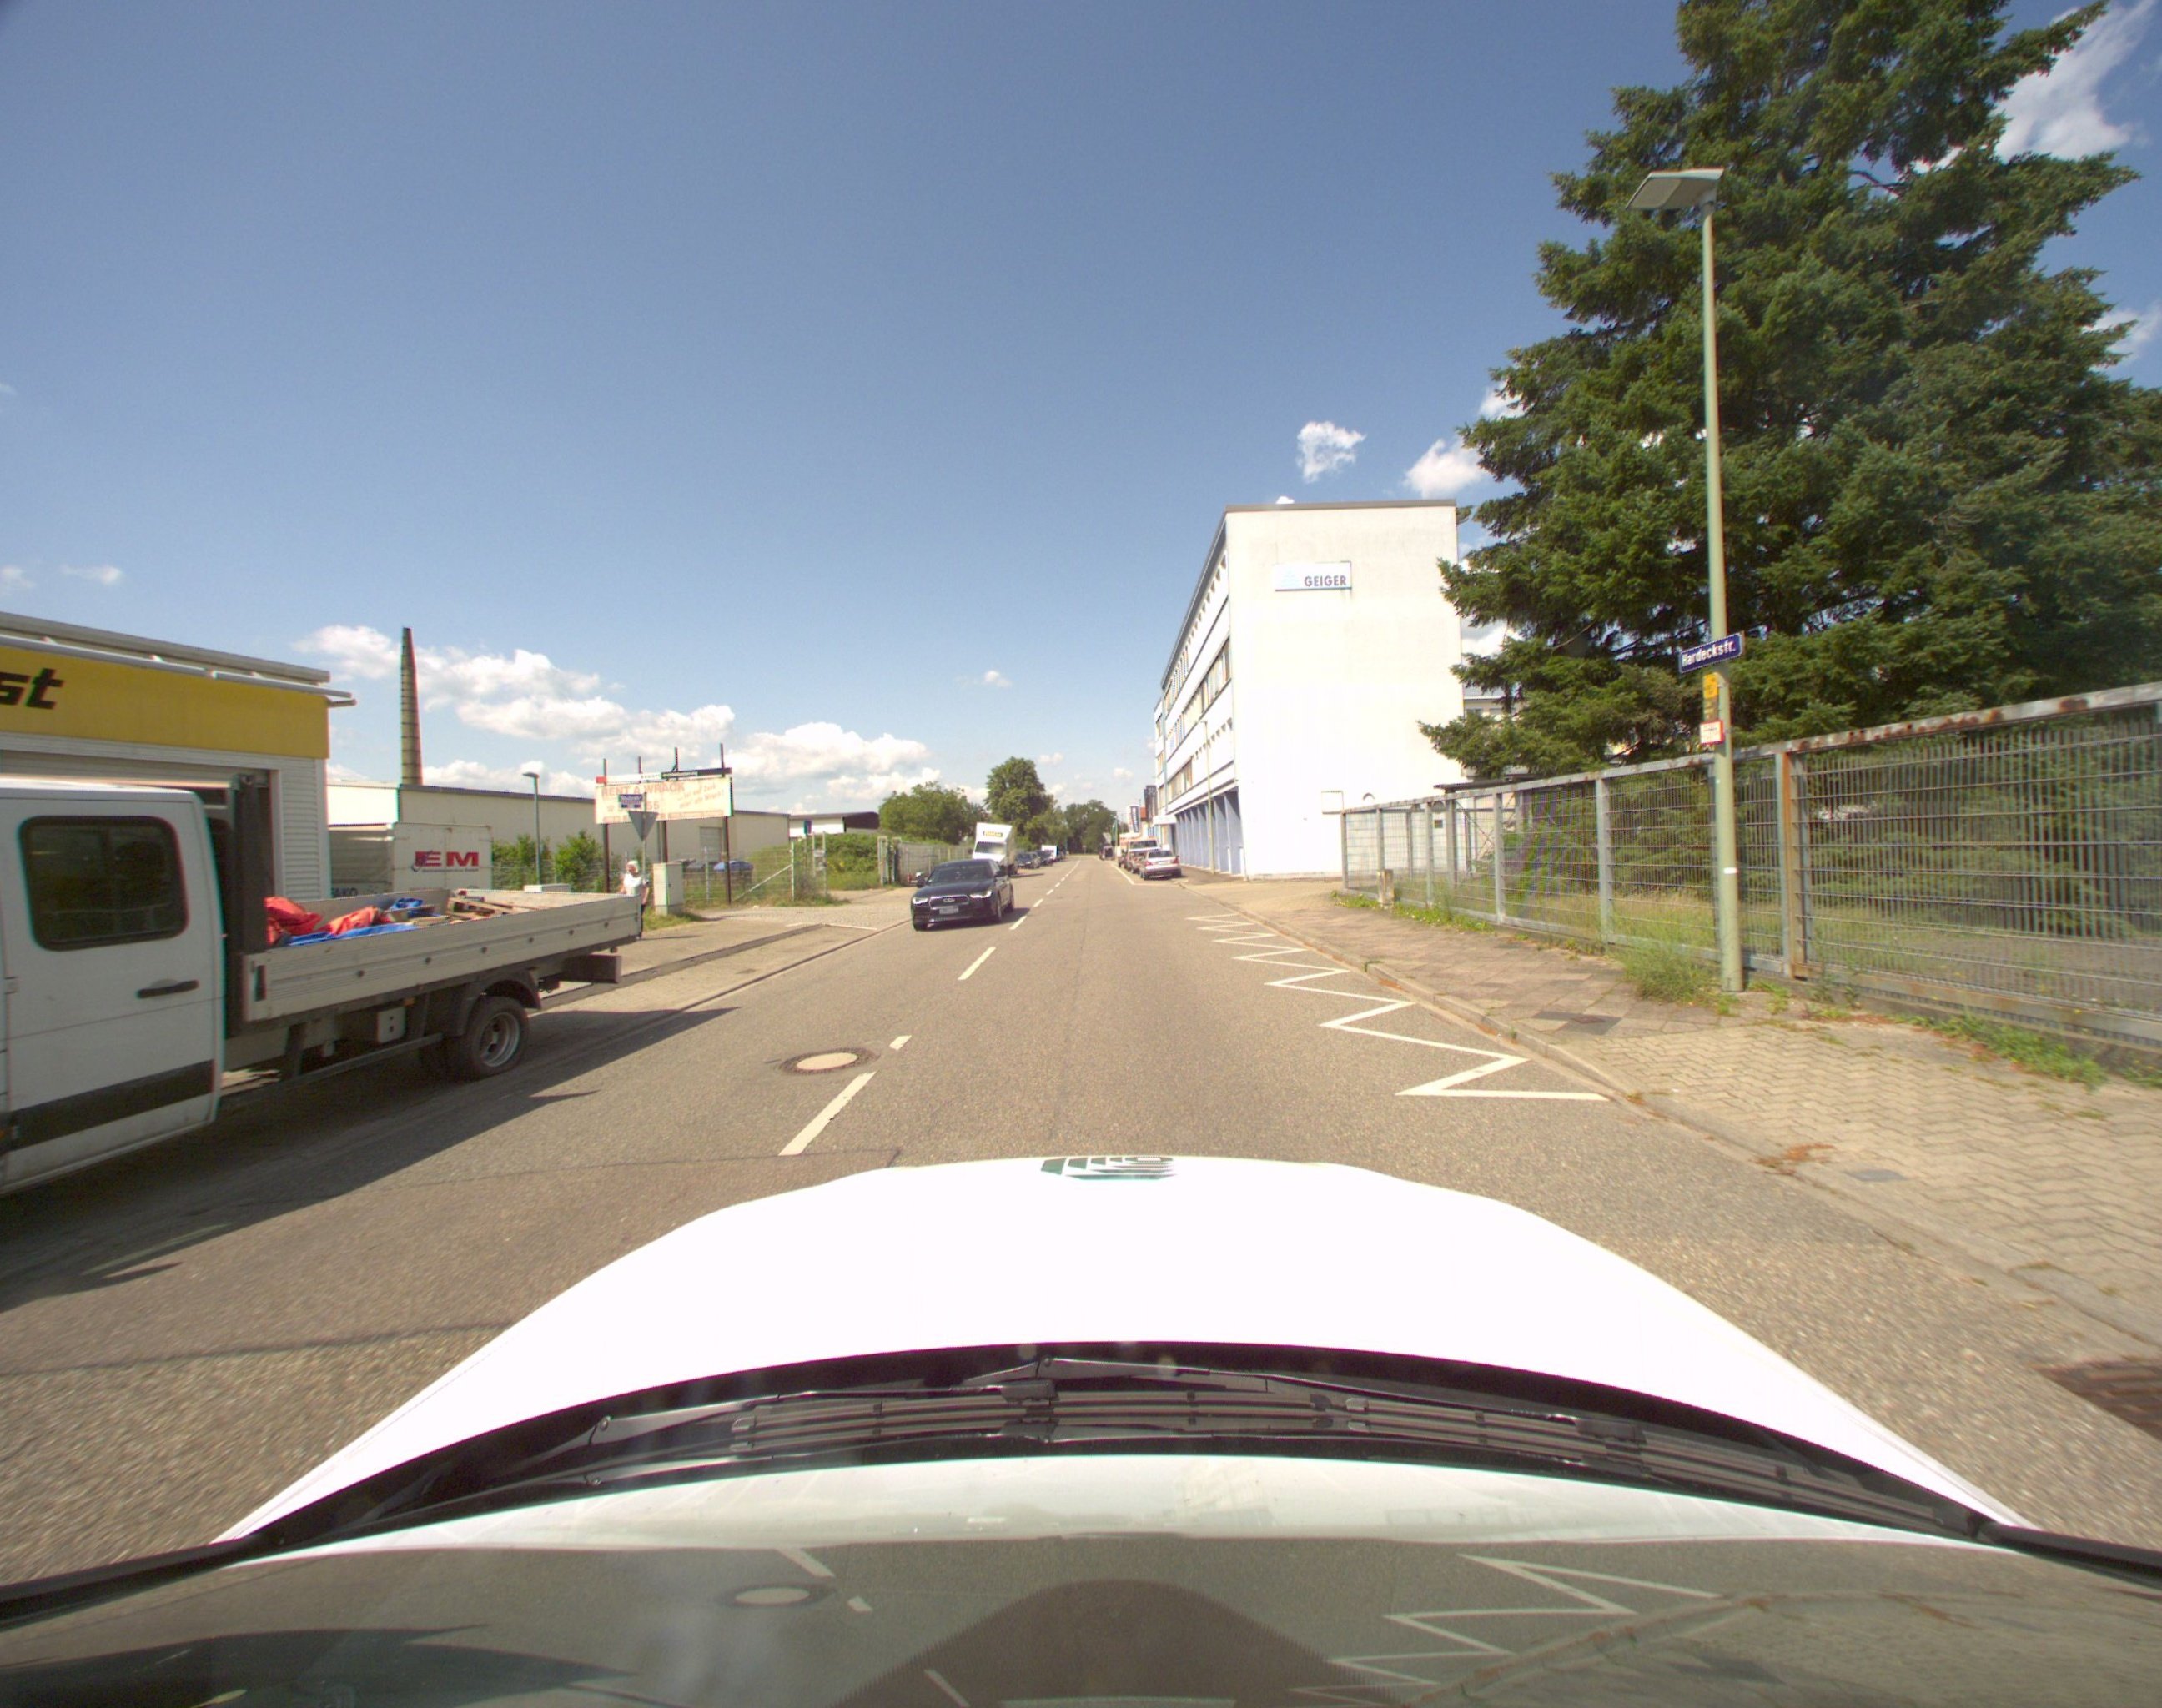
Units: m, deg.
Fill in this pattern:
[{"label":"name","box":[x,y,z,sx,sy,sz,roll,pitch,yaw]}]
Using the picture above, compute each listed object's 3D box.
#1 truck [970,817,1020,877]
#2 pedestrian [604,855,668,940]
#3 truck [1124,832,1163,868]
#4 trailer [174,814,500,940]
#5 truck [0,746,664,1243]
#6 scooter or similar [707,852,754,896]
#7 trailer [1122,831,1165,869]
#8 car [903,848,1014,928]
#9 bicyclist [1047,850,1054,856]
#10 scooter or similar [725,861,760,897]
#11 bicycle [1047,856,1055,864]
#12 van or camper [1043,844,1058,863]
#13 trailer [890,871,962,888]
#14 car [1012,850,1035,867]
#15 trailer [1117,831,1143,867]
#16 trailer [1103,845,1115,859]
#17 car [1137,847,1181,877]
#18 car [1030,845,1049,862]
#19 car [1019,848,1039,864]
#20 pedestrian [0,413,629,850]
[{"label":"truck","box":[-5.194,-0.439,50.080,2.243,3.362,6.905,-2,0,0]},{"label":"pedestrian","box":[-8.551,0.813,15.684,0.657,1.545,0.918,-2,0,2]},{"label":"truck","box":[3.750,-0.255,49.874,1.958,2.035,4.733,-2,0,0]},{"label":"trailer","box":[-18.908,0.574,20.857,6.474,2.852,2.768,-2,0,11]},{"label":"truck","box":[-5.830,0.609,5.242,2.119,2.238,7.356,1,1,3]},{"label":"scooter or similar","box":[-13.175,0.745,30.604,1.177,1.586,1.303,-2,0,-44]},{"label":"trailer","box":[3.497,-0.226,46.467,1.967,1.971,5.765,-2,0,0]},{"label":"car","box":[-2.656,0.674,18.649,1.779,1.438,4.308,-5,0,0]},{"label":"bicyclist","box":[-3.064,-0.119,82.361,0.563,0.631,1.859,-1,1,3]},{"label":"scooter or similar","box":[-12.324,0.906,29.675,0.887,1.275,0.886,-2,0,-44]},{"label":"bicycle","box":[-3.032,0.617,82.364,0.585,0.741,2.127,-2,0,3]},{"label":"van or camper","box":[-4.802,-0.115,128.899,2.256,2.803,6.829,2,0,-1]},{"label":"trailer","box":[-6.511,1.050,34.651,2.228,0.552,4.443,0,0,-1]},{"label":"car","box":[-5.073,0.396,71.838,1.562,1.399,3.801,3,0,2]},{"label":"trailer","box":[3.736,-0.401,62.462,1.861,2.553,5.076,-2,0,3]},{"label":"trailer","box":[4.053,-0.308,117.992,1.596,2.037,2.740,-1,0,0]},{"label":"car","box":[3.554,0.324,37.729,1.641,1.246,4.000,-2,1,0]},{"label":"car","box":[-4.571,-0.085,90.210,1.795,1.749,4.712,-2,0,0]},{"label":"car","box":[-4.850,0.135,76.879,1.610,1.483,3.709,0,0,0]},{"label":"pedestrian","box":[-5.436,-1.067,5.879,1.986,2.013,4.002,-1,0,2]}]
